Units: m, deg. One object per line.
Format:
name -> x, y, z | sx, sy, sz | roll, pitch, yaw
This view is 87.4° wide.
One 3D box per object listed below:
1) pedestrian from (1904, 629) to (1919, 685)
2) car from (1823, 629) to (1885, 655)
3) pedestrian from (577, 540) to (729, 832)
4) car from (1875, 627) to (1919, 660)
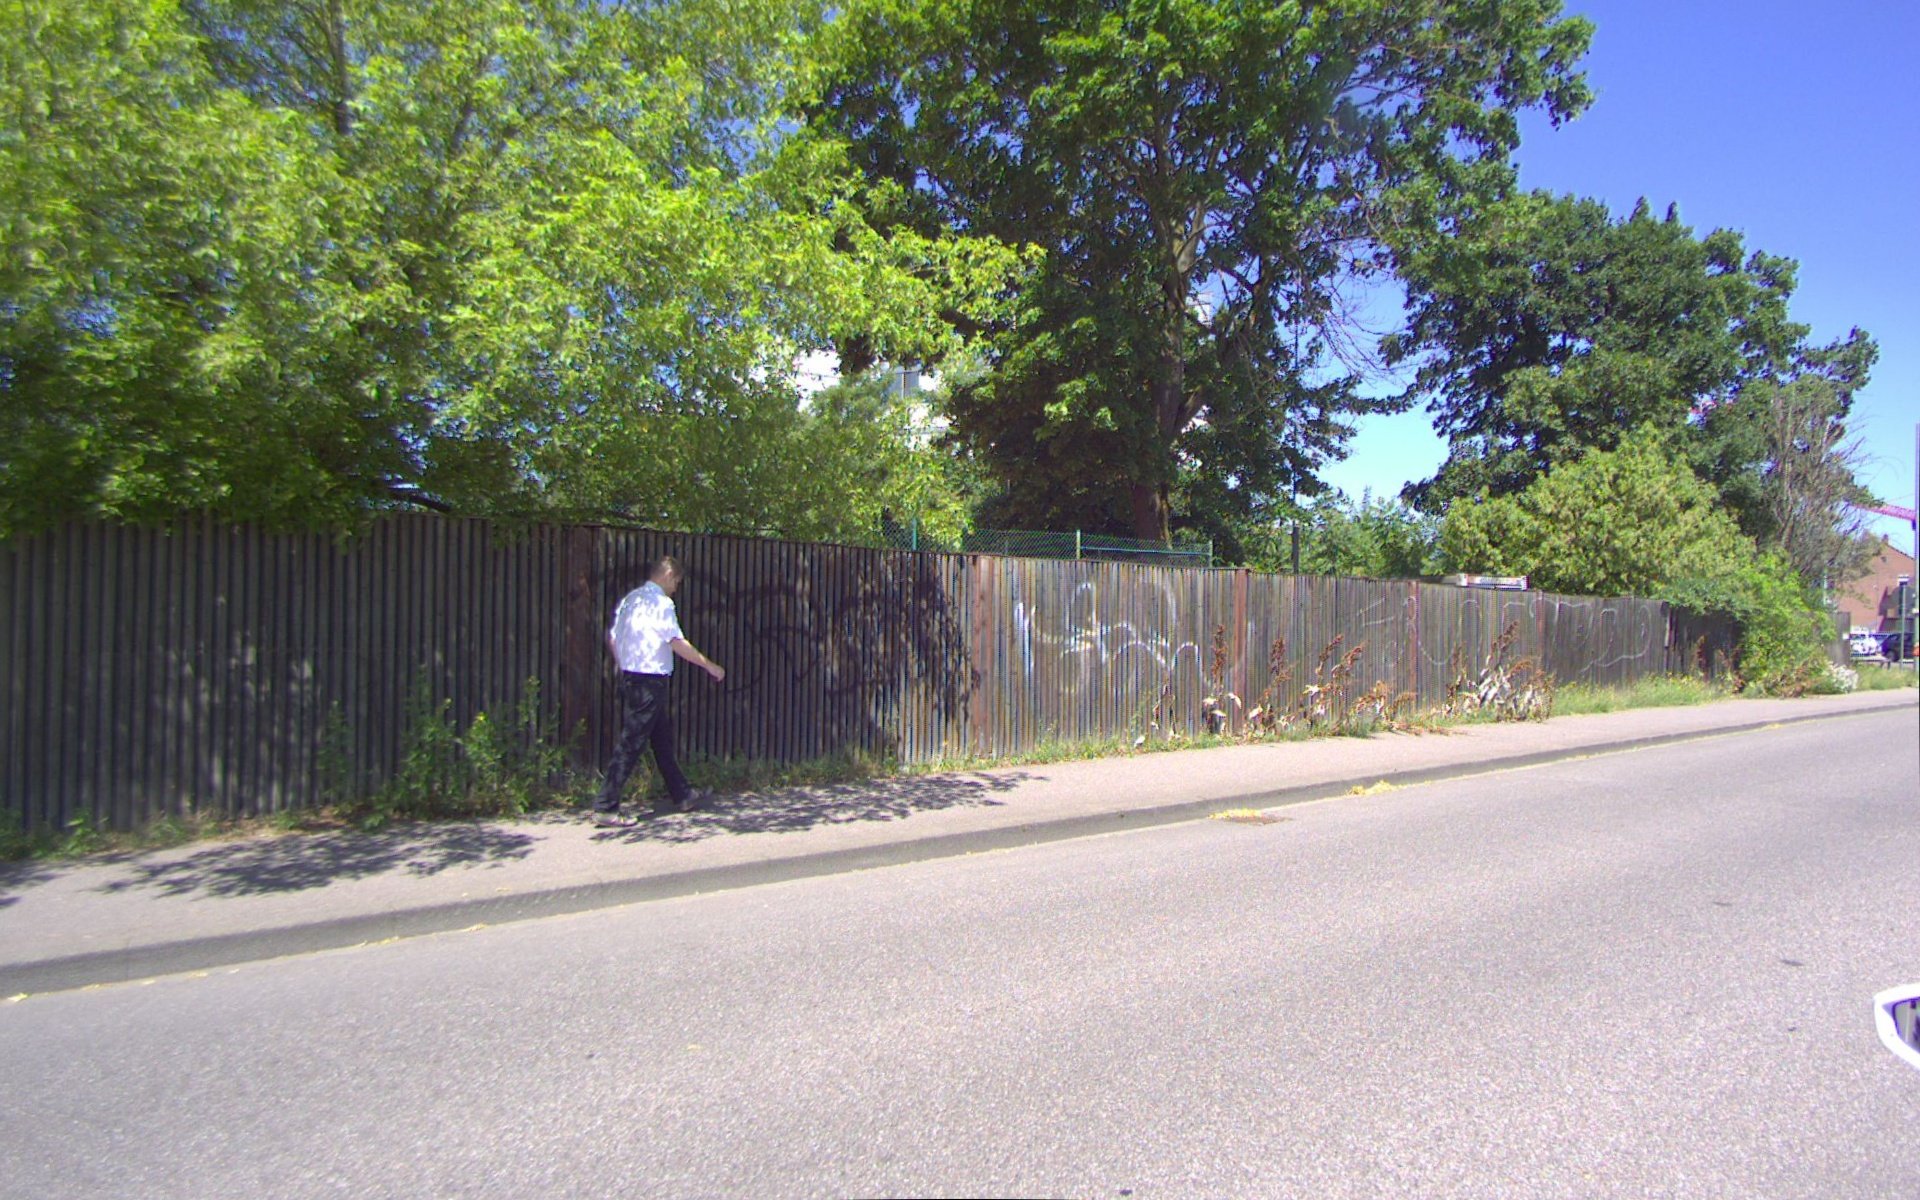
pedestrian -> 27.318, 1.616, 28.344 | 0.868, 1.584, 0.803 | 2, 0, -34
car -> 56.697, 2.669, 63.685 | 3.953, 1.570, 1.748 | 2, 0, -30
pedestrian -> -2.089, 0.552, 6.824 | 0.841, 1.849, 0.589 | 2, 0, -30
car -> 49.747, 2.257, 51.469 | 1.959, 1.617, 4.450 | 2, 0, 6
